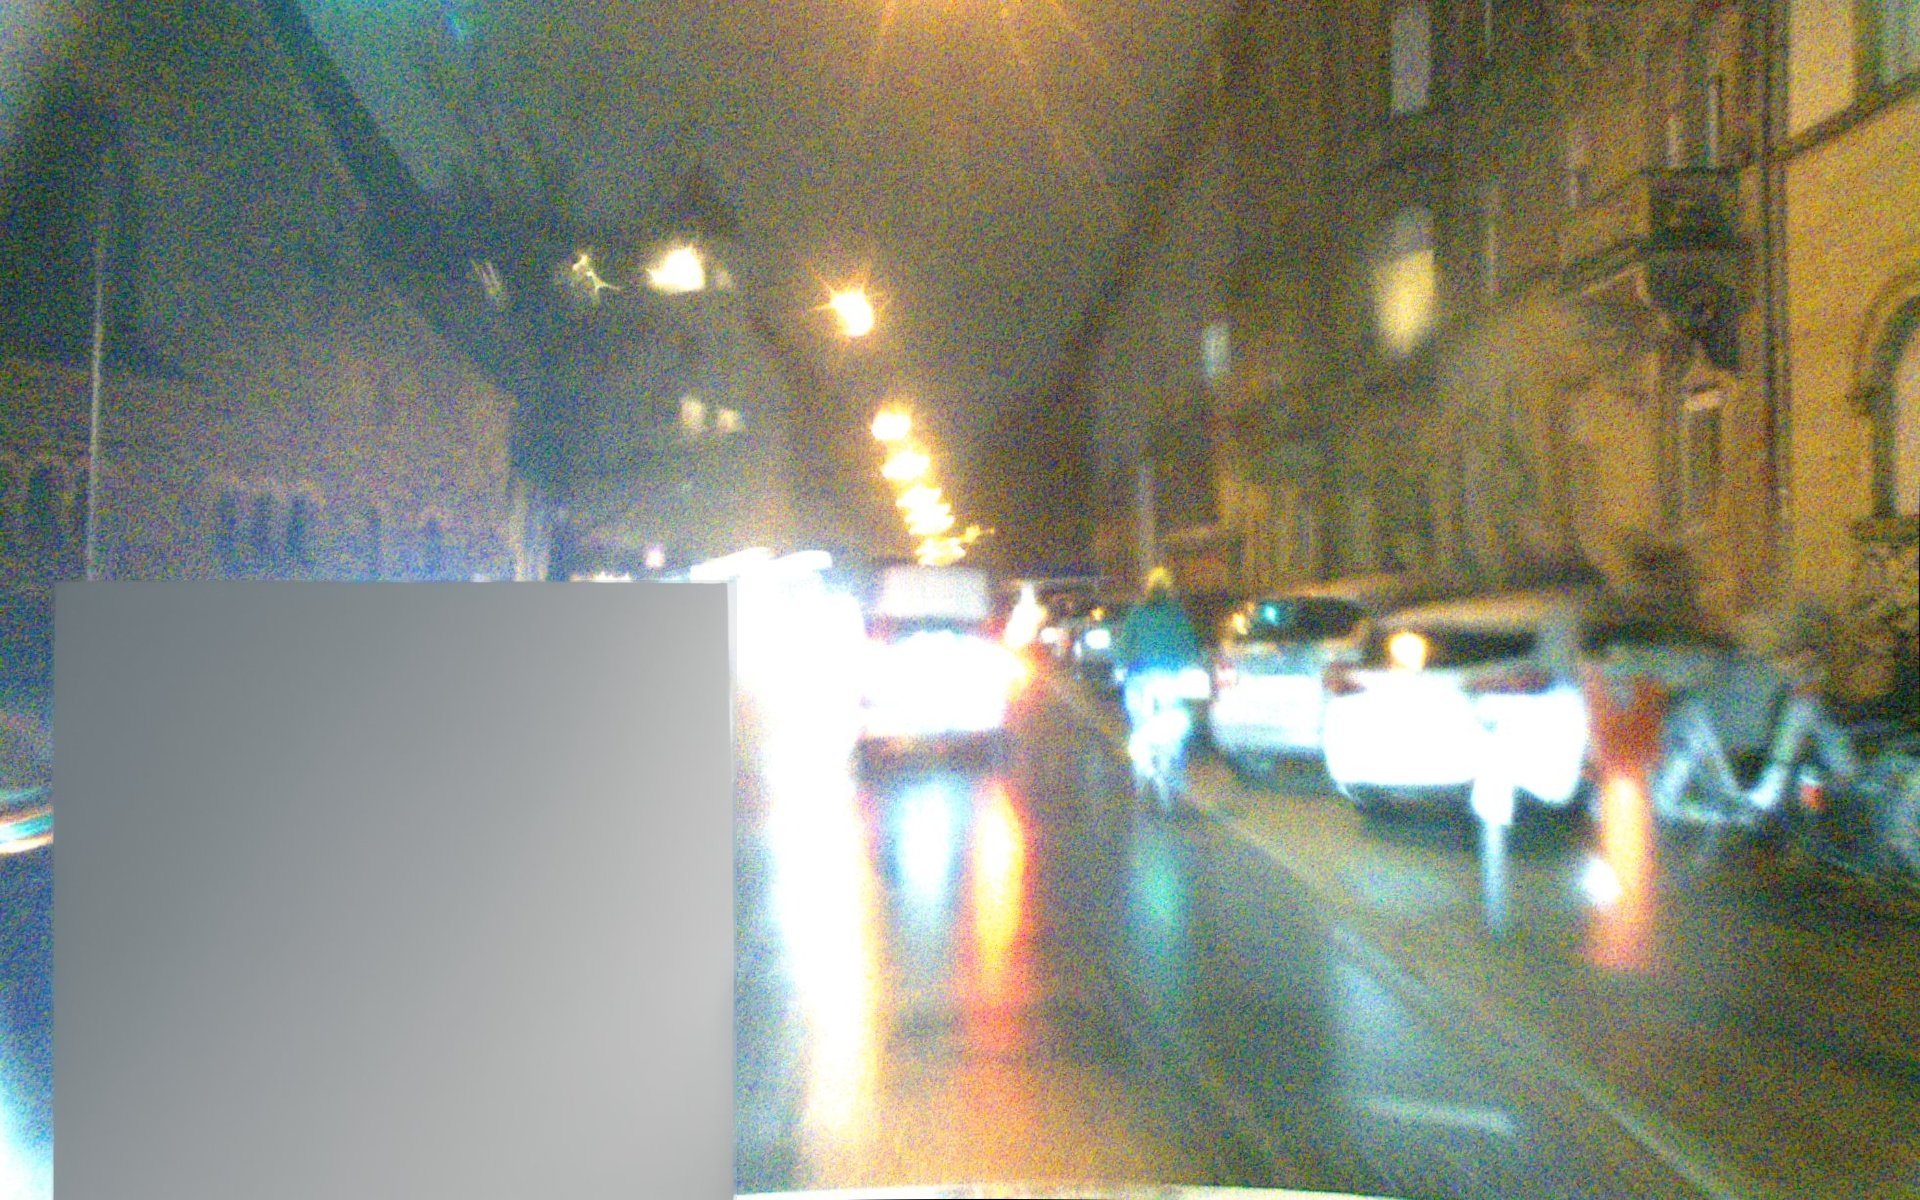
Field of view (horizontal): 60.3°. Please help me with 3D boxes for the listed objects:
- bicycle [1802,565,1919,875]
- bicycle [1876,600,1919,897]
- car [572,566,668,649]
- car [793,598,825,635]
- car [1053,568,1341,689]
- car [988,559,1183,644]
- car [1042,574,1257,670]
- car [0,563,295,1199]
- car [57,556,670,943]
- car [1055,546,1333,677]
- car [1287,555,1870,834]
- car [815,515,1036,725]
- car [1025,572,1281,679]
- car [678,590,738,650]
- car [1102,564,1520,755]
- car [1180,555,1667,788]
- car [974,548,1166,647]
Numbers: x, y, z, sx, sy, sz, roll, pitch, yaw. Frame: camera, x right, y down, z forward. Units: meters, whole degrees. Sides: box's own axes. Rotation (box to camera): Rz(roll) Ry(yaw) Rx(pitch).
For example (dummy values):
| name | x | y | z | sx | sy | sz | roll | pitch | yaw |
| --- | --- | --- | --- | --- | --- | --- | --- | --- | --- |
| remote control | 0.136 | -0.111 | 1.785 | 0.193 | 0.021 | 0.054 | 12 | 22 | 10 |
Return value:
| name | x | y | z | sx | sy | sz | roll | pitch | yaw |
| --- | --- | --- | --- | --- | --- | --- | --- | --- | --- |
| bicycle | 5.047 | 0.508 | 7.788 | 1.860 | 1.384 | 0.595 | -2 | -1 | -5 |
| bicycle | 5.041 | 0.606 | 7.133 | 1.860 | 1.273 | 0.595 | -2 | -1 | -5 |
| car | -8.740 | 0.170 | 42.292 | 1.960 | 2.006 | 4.280 | 0 | 0 | -18 |
| car | -8.476 | 0.906 | 93.161 | 1.690 | 2.006 | 4.217 | 0 | 0 | -4 |
| car | 3.686 | 0.406 | 25.773 | 4.113 | 1.674 | 1.759 | -2 | 1 | -22 |
| car | 2.764 | 0.007 | 35.913 | 4.145 | 1.674 | 1.745 | -2 | 1 | -39 |
| car | 3.723 | 0.387 | 32.093 | 4.145 | 1.674 | 1.745 | -2 | 1 | -39 |
| car | -2.750 | 0.649 | 2.834 | 1.635 | 1.445 | 4.096 | 0 | 0 | -1 |
| car | -2.873 | 0.615 | 9.232 | 1.751 | 1.581 | 4.853 | 0 | 0 | -1 |
| car | 3.401 | 0.108 | 23.546 | 4.151 | 1.674 | 1.636 | -2 | 1 | -42 |
| car | 4.275 | 0.493 | 11.157 | 4.144 | 1.483 | 1.831 | -2 | 1 | -39 |
| car | -0.350 | 0.193 | 18.143 | 2.124 | 2.006 | 4.301 | -1 | 0 | -1 |
| car | 3.386 | 0.405 | 29.074 | 4.113 | 1.674 | 1.759 | -2 | 1 | -22 |
| car | -8.747 | 0.681 | 57.253 | 1.696 | 2.006 | 3.713 | 0 | 0 | -15 |
| car | 3.574 | 0.504 | 16.553 | 4.136 | 1.618 | 1.710 | -2 | 1 | -34 |
| car | 3.959 | 0.483 | 13.820 | 4.144 | 1.604 | 1.856 | -2 | 1 | -39 |
| car | 2.955 | -0.102 | 43.788 | 4.961 | 2.433 | 2.110 | -2 | 1 | -39 |
